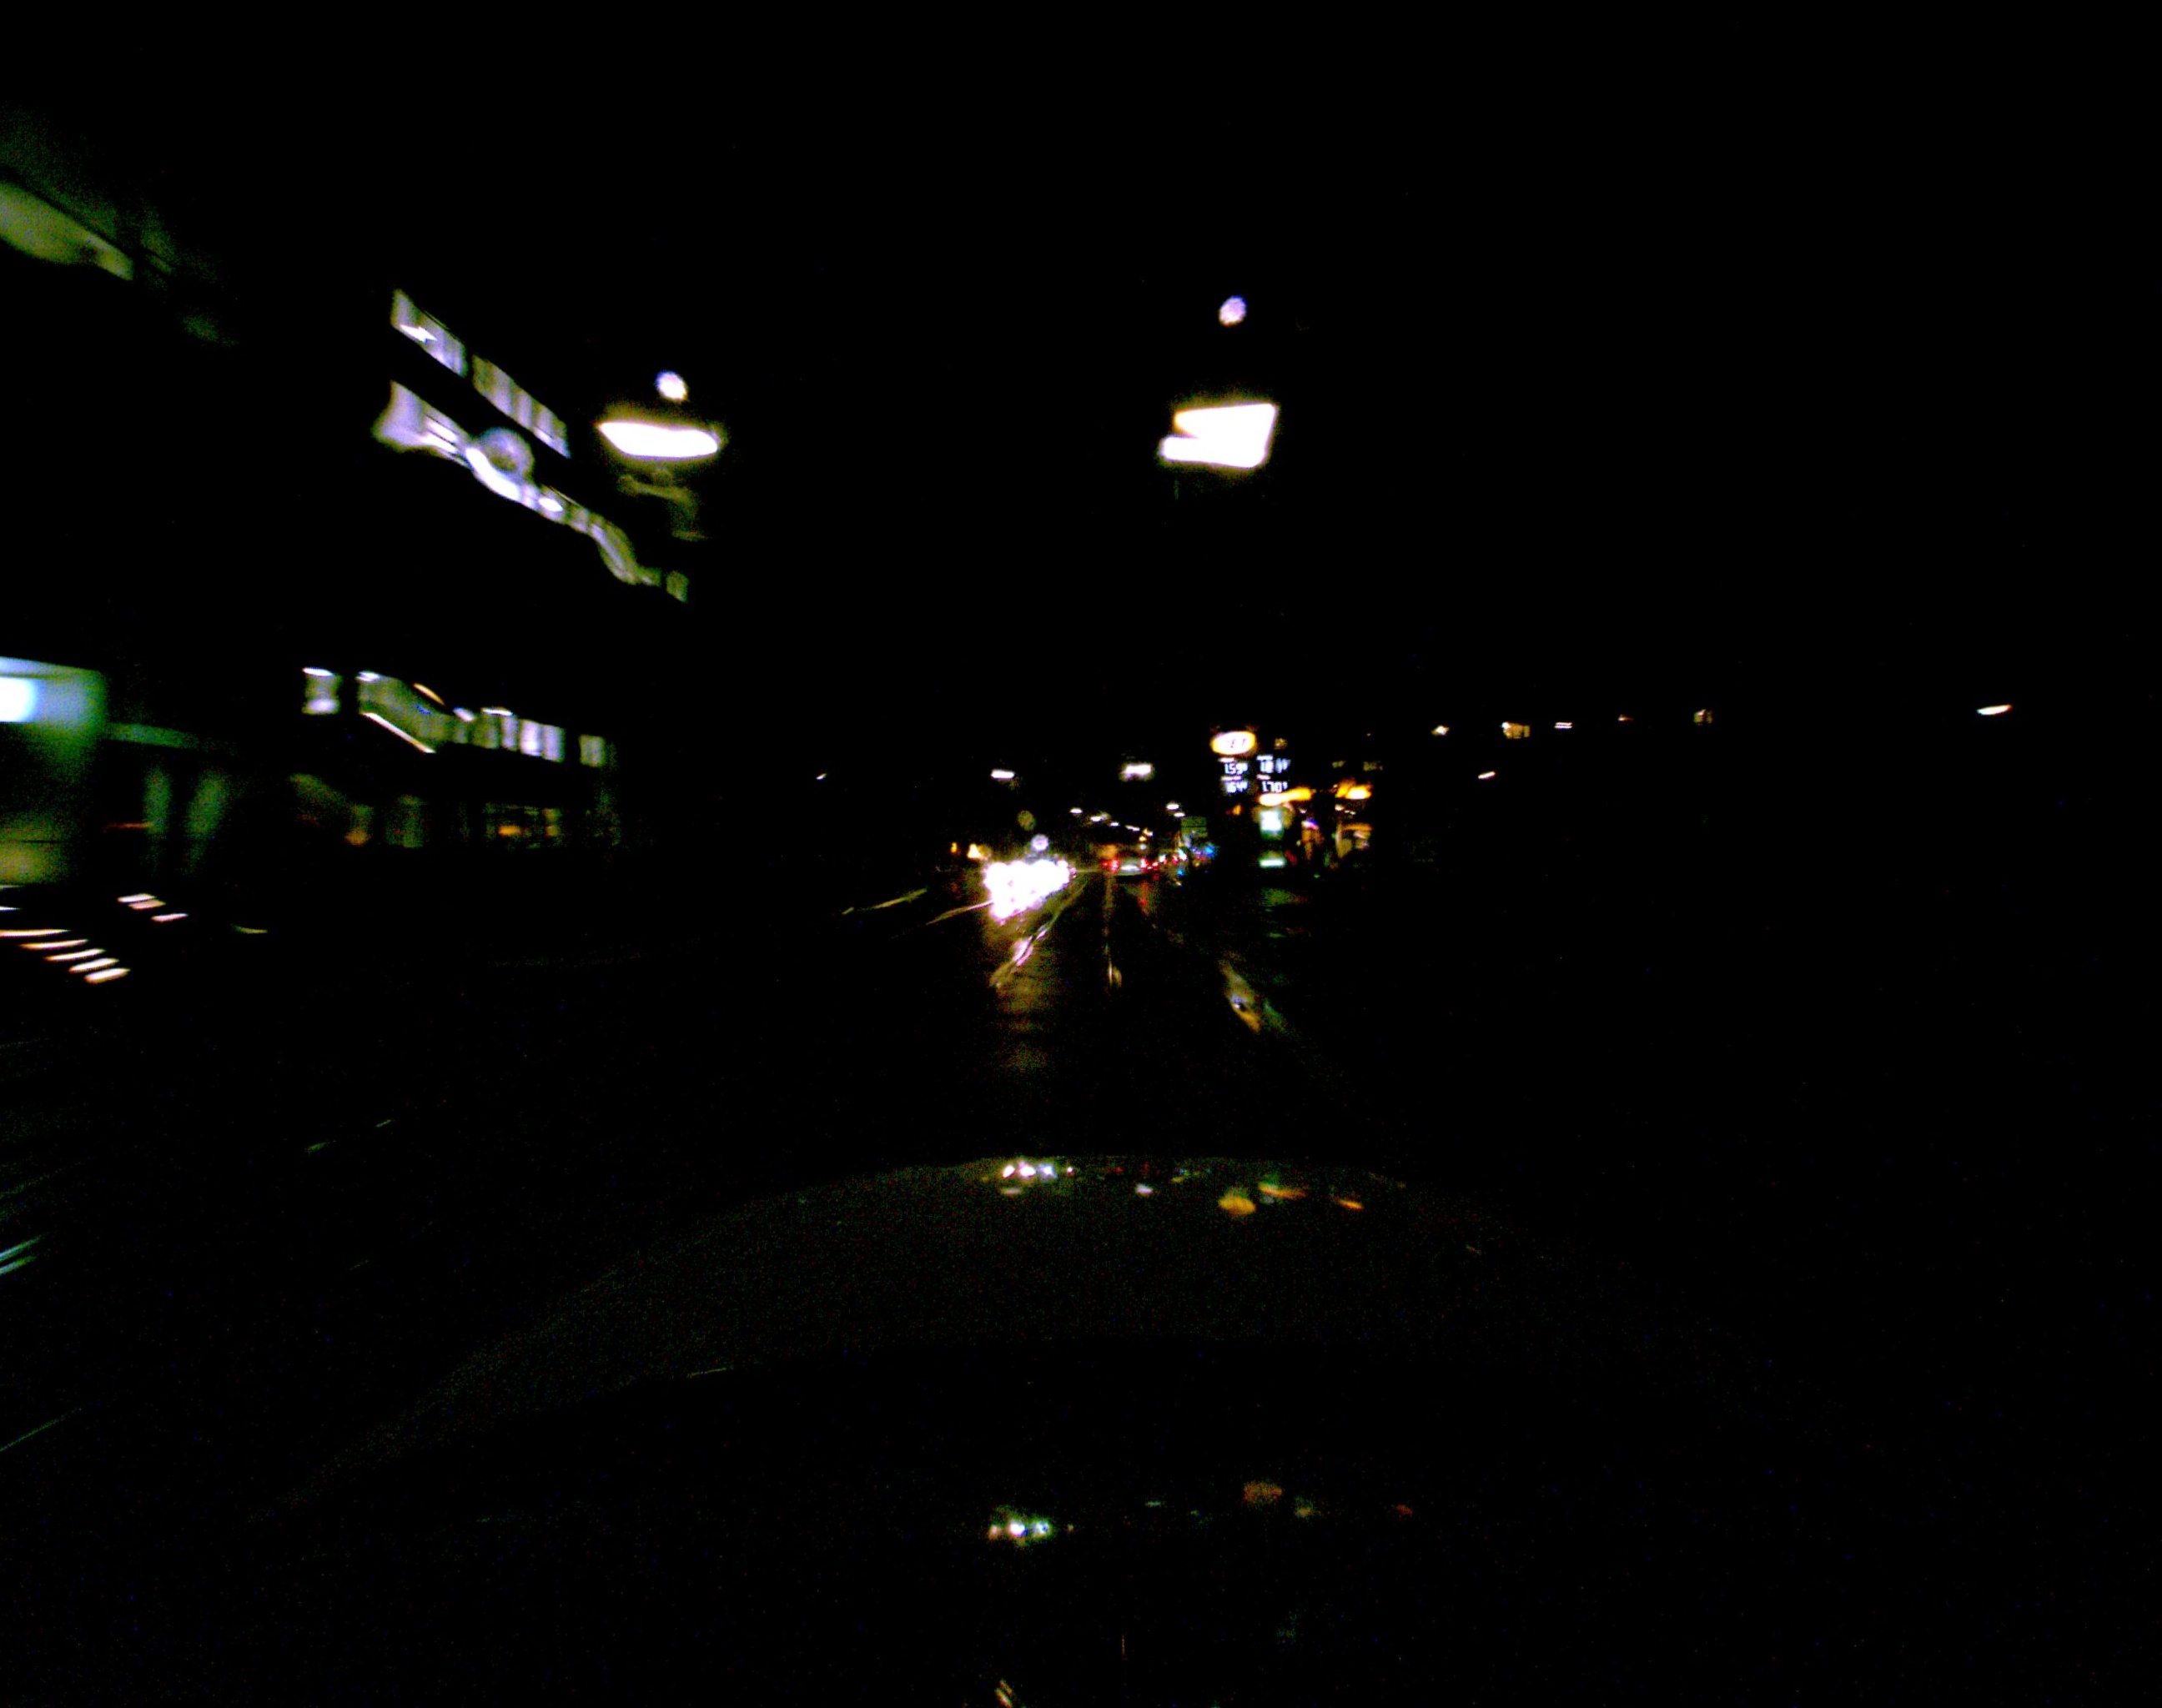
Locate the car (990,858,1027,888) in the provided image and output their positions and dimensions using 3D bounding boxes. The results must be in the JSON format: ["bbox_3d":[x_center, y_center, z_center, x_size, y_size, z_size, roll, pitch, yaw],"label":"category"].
[{"bbox_3d":[-4.529,1.180,51.173,1.988,1.724,4.073,-1,-1,-2],"label":"car"}]

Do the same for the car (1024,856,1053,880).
[{"bbox_3d":[-3.624,1.222,69.861,2.313,1.932,4.960,-1,-1,-1],"label":"car"}]

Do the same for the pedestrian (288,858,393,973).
[{"bbox_3d":[-11.412,0.920,12.576,0.783,1.686,0.883,-1,-1,1],"label":"pedestrian"}]

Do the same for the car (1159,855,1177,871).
[{"bbox_3d":[11.523,1.219,107.725,1.986,2.014,4.001,-1,-1,1],"label":"car"}]

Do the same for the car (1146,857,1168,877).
[{"bbox_3d":[7.315,1.252,79.092,2.007,1.815,4.004,-1,-1,4],"label":"car"}]

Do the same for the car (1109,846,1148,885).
[{"bbox_3d":[3.014,0.749,52.479,2.236,2.361,4.394,-1,-1,1],"label":"car"}]

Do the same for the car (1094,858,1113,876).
[{"bbox_3d":[2.392,1.388,88.442,1.986,1.816,4.000,-1,-1,1],"label":"car"}]

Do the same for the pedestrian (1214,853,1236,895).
[{"bbox_3d":[6.077,0.838,34.310,0.771,1.776,0.697,-2,-1,19],"label":"pedestrian"}]

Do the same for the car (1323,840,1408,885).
[{"bbox_3d":[11.410,0.325,32.488,2.004,1.700,4.148,-2,-1,37],"label":"car"}]

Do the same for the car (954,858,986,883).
[{"bbox_3d":[-9.503,1.420,69.841,1.985,2.014,4.003,-1,-1,3],"label":"car"}]
